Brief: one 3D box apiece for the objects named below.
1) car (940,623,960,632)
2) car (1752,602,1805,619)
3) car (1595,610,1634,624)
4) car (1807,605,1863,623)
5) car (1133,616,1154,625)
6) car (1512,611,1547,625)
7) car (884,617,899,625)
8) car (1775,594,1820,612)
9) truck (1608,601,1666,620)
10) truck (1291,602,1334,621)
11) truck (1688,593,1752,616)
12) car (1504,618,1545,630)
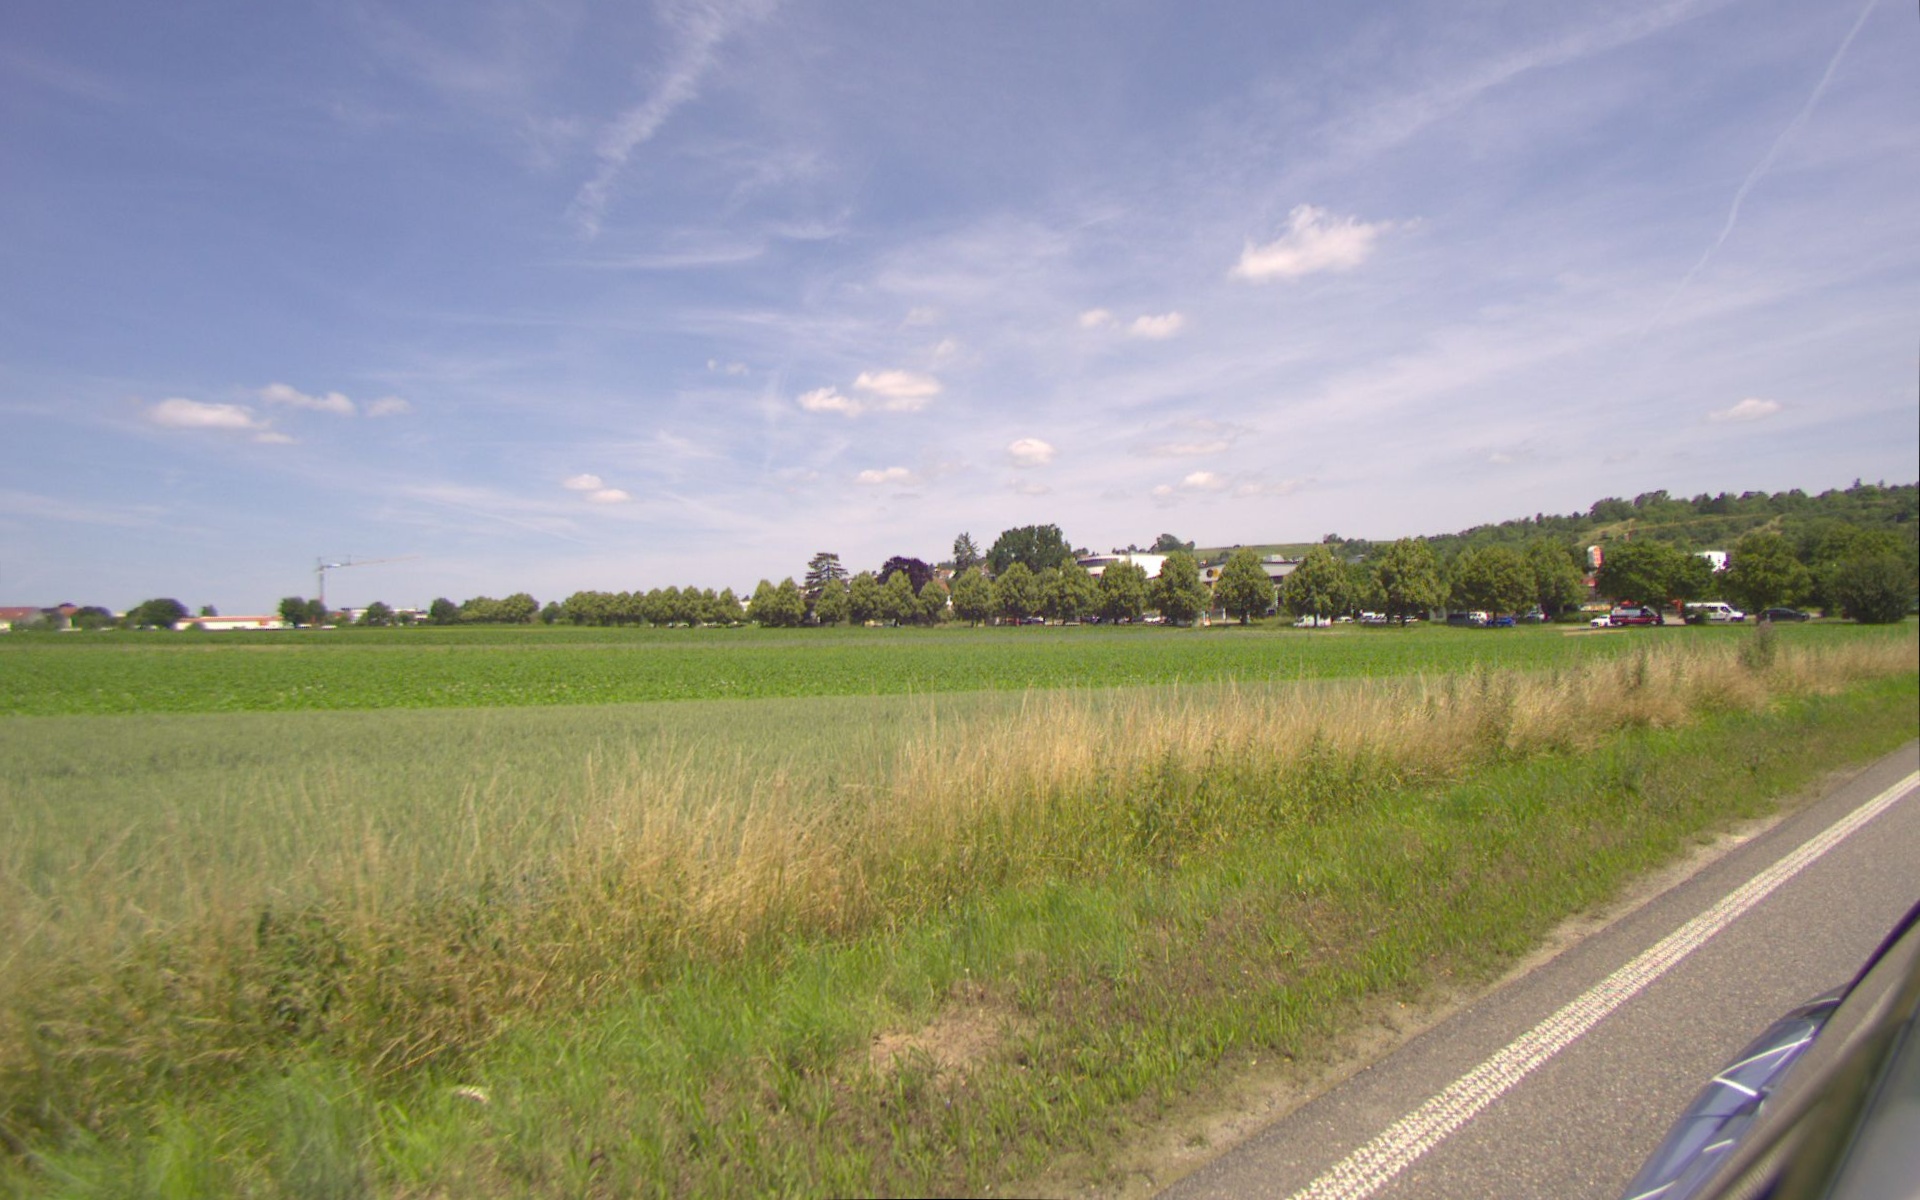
[{"bbox_3d":[-2.025,5.856,211.984,1.967,1.670,3.989,-2,-1,-43],"label":"car"},{"bbox_3d":[94.378,1.215,116.753,1.836,1.713,4.514,-2,0,-43],"label":"car"},{"bbox_3d":[84.833,2.201,131.194,4.407,1.579,1.880,-3,-1,-19],"label":"car"},{"bbox_3d":[93.653,1.472,108.346,1.966,1.719,4.283,-2,-1,-41],"label":"car"},{"bbox_3d":[37.112,4.180,204.316,1.713,1.650,3.994,-2,-1,-39],"label":"car"},{"bbox_3d":[83.235,2.574,147.911,1.790,1.848,3.994,-2,-1,-39],"label":"car"},{"bbox_3d":[-16.489,5.034,242.144,1.840,1.822,4.001,-2,-1,-32],"label":"car"},{"bbox_3d":[101.449,0.361,122.581,3.974,1.848,1.800,-4,-1,36],"label":"car"},{"bbox_3d":[80.898,1.245,121.000,5.455,2.001,1.773,-4,-1,44],"label":"truck"},{"bbox_3d":[54.590,1.772,156.775,2.040,2.771,5.925,-4,0,-44],"label":"truck"},{"bbox_3d":[86.733,0.522,115.516,5.616,2.396,2.022,-4,-1,43],"label":"truck"},{"bbox_3d":[74.847,3.185,134.158,1.751,1.579,4.385,1,-1,-37],"label":"car"}]
